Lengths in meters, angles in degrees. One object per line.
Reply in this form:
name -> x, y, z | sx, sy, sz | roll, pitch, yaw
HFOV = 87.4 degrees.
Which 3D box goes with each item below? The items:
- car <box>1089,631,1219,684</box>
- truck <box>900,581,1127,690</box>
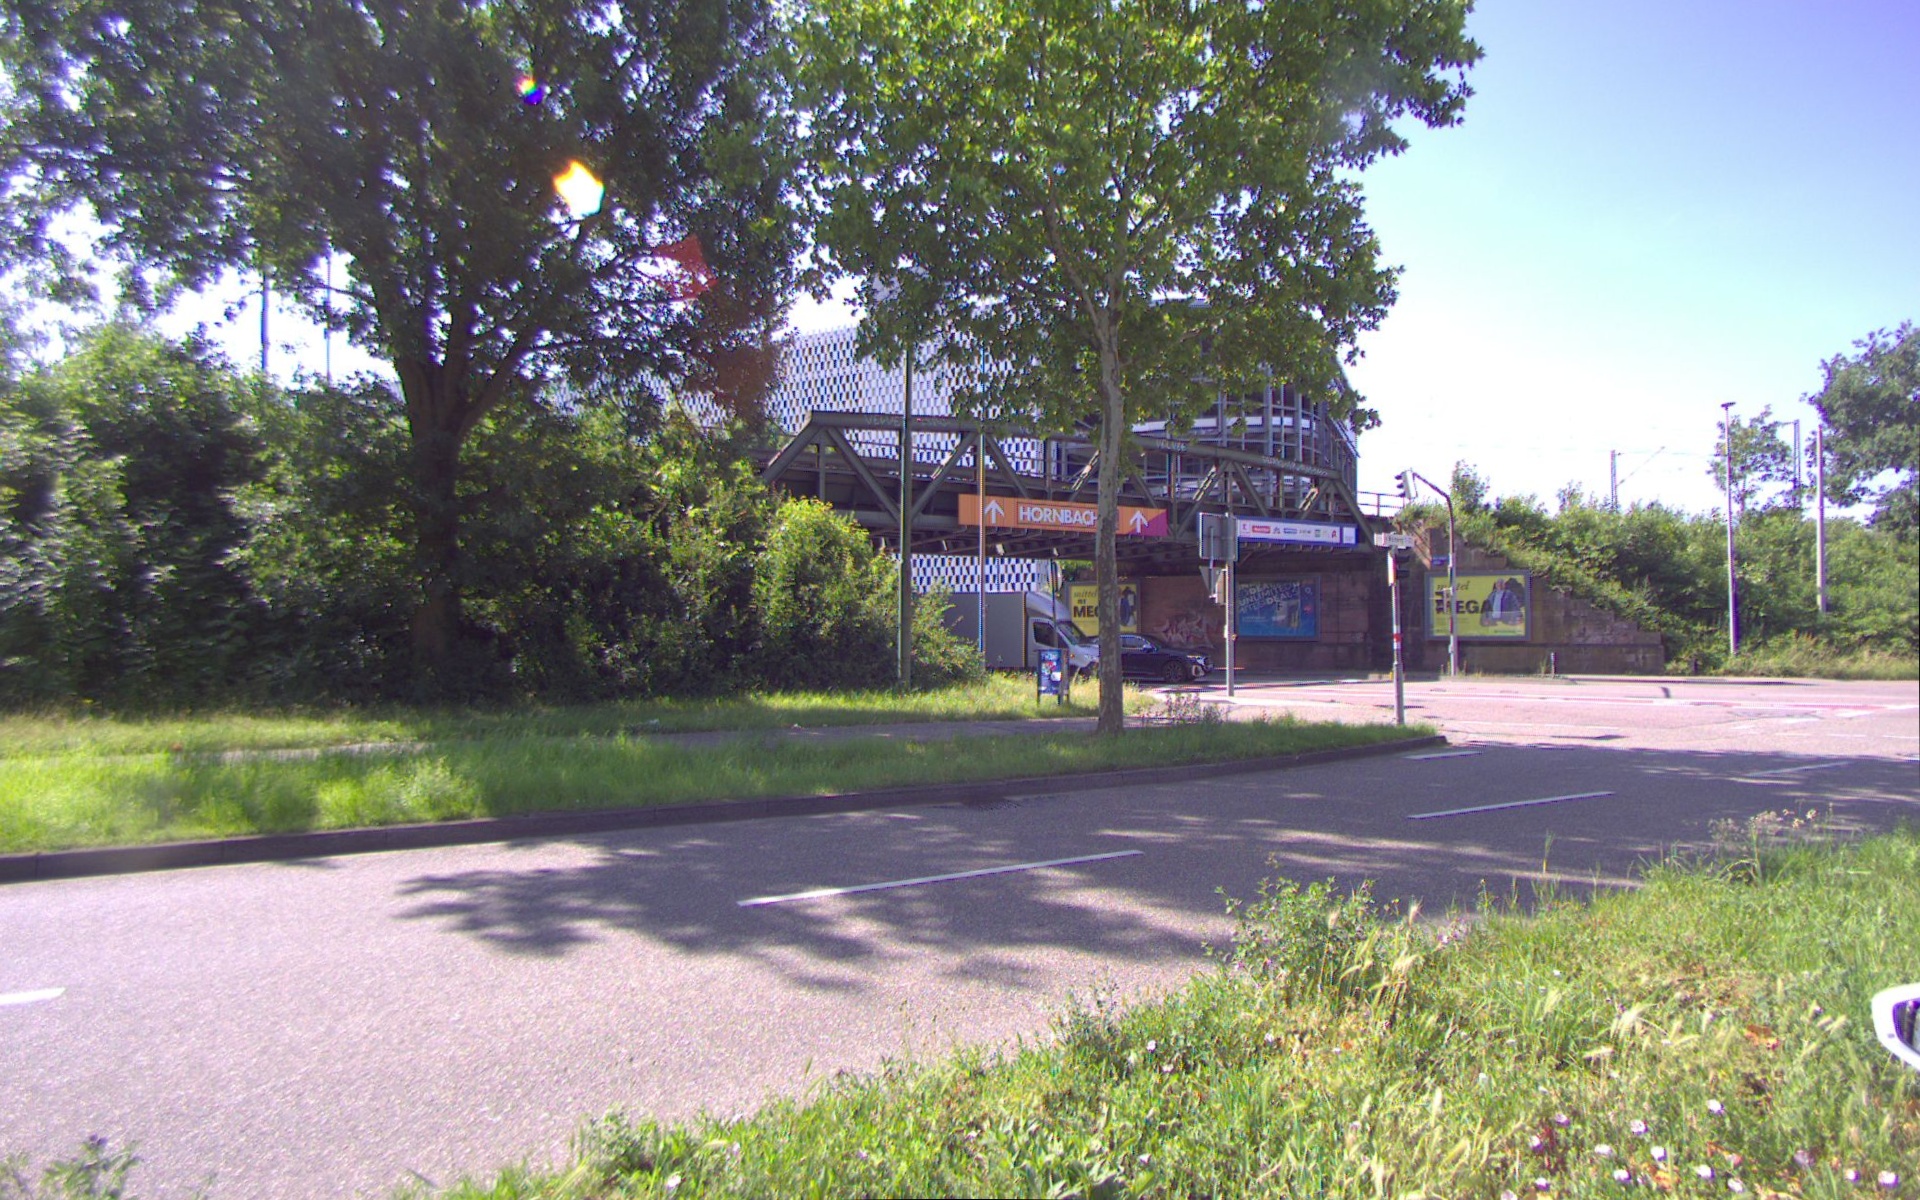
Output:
car -> 6.541, 1.931, 33.967 | 3.926, 1.668, 1.902 | -2, -2, 27
truck -> 1.612, 1.150, 31.473 | 6.739, 3.146, 2.216 | -2, -2, 27
